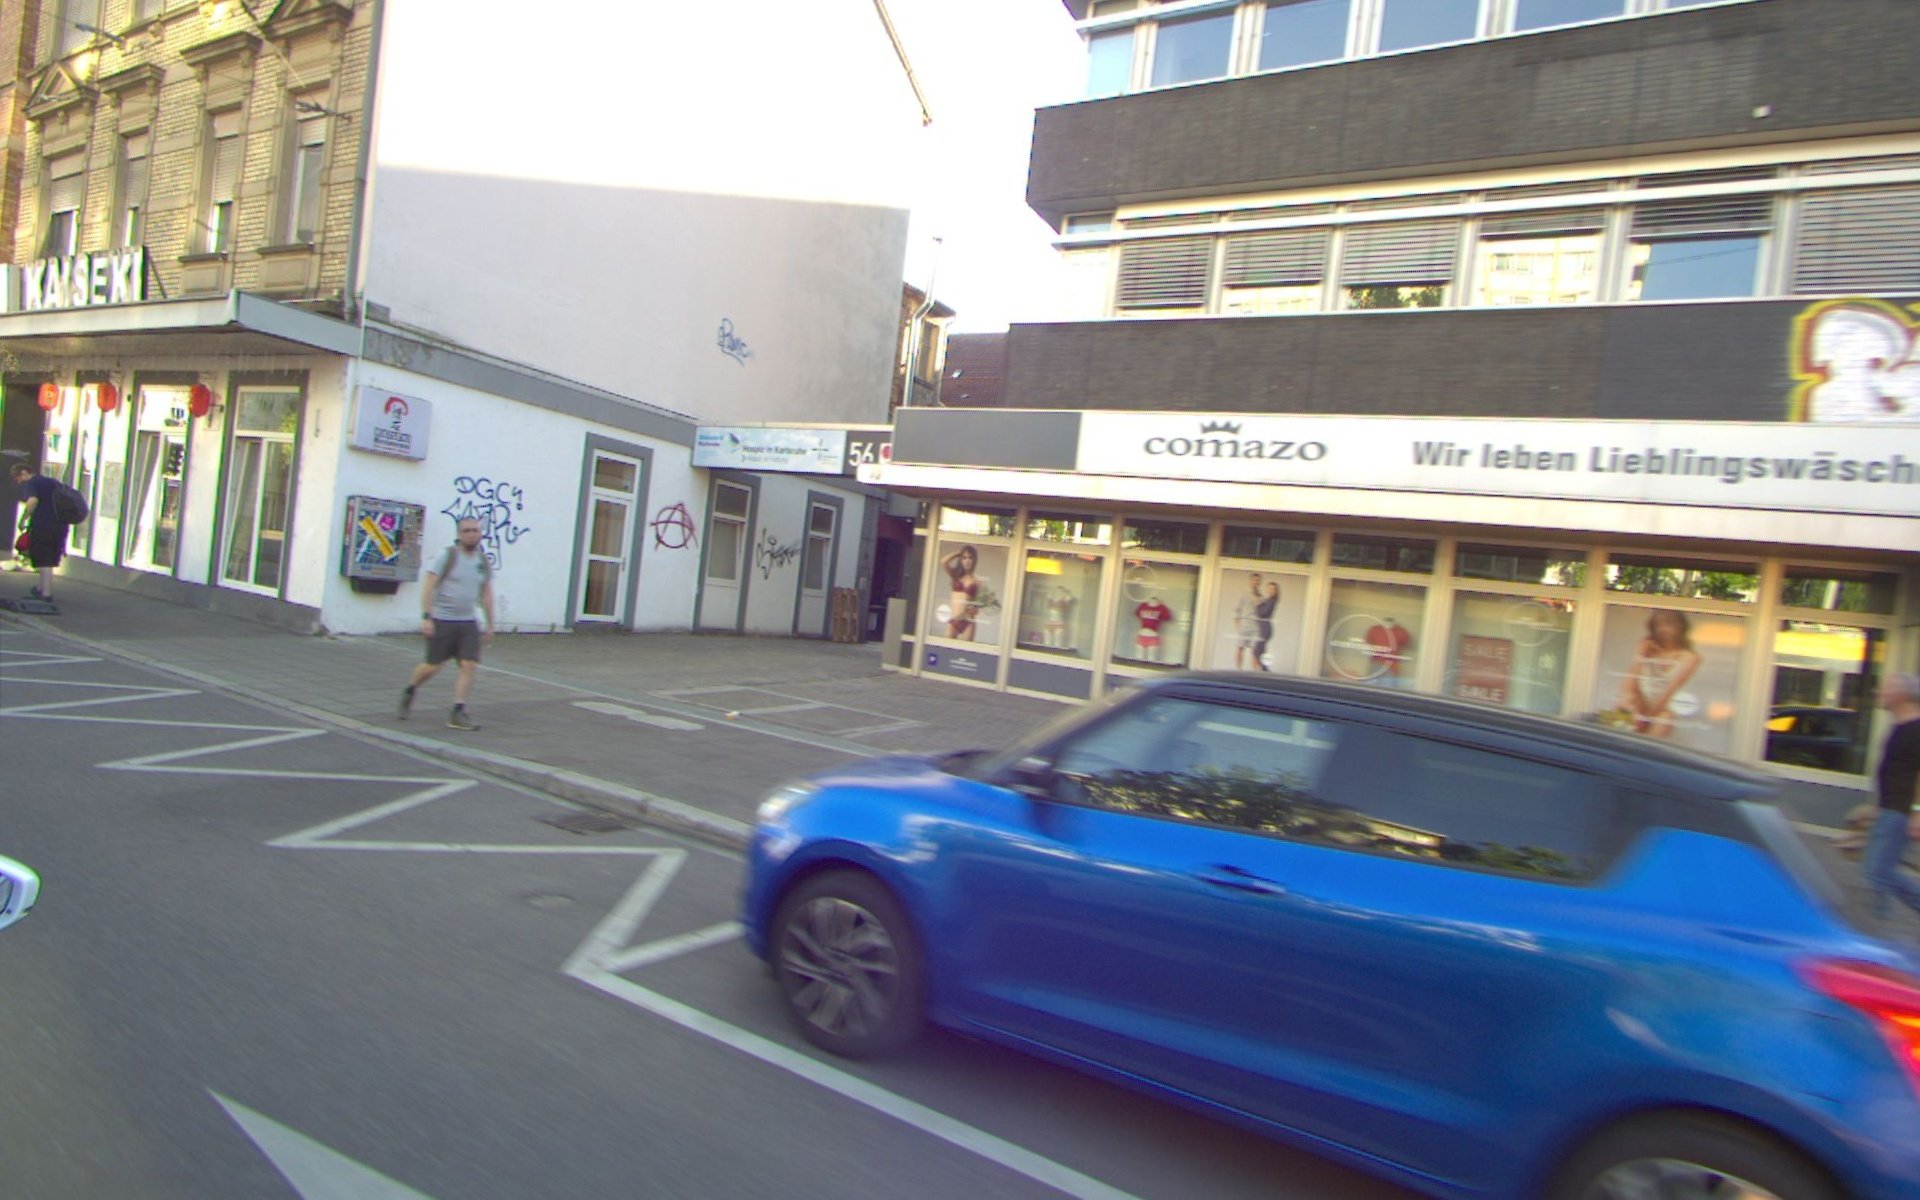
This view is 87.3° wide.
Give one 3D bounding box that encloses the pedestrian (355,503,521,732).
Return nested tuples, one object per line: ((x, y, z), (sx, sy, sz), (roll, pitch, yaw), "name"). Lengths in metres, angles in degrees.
((-4.383, 0.130, 8.458), (0.929, 1.761, 0.787), (6, 3, 29), "pedestrian")

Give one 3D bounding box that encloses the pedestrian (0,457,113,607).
((-11.972, -0.885, 13.178), (1.037, 1.816, 0.947), (7, 2, 29), "pedestrian")

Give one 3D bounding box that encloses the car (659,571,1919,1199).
((0.993, 0.946, 3.557), (3.729, 1.509, 1.642), (8, -2, 29), "car")

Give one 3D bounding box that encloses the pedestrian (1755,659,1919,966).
((5.899, 1.312, 6.391), (1.015, 1.736, 0.901), (7, 3, 29), "pedestrian")

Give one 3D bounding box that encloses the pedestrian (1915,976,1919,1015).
((5.250, 1.259, 4.539), (1.015, 1.779, 0.812), (7, 1, 29), "pedestrian")
